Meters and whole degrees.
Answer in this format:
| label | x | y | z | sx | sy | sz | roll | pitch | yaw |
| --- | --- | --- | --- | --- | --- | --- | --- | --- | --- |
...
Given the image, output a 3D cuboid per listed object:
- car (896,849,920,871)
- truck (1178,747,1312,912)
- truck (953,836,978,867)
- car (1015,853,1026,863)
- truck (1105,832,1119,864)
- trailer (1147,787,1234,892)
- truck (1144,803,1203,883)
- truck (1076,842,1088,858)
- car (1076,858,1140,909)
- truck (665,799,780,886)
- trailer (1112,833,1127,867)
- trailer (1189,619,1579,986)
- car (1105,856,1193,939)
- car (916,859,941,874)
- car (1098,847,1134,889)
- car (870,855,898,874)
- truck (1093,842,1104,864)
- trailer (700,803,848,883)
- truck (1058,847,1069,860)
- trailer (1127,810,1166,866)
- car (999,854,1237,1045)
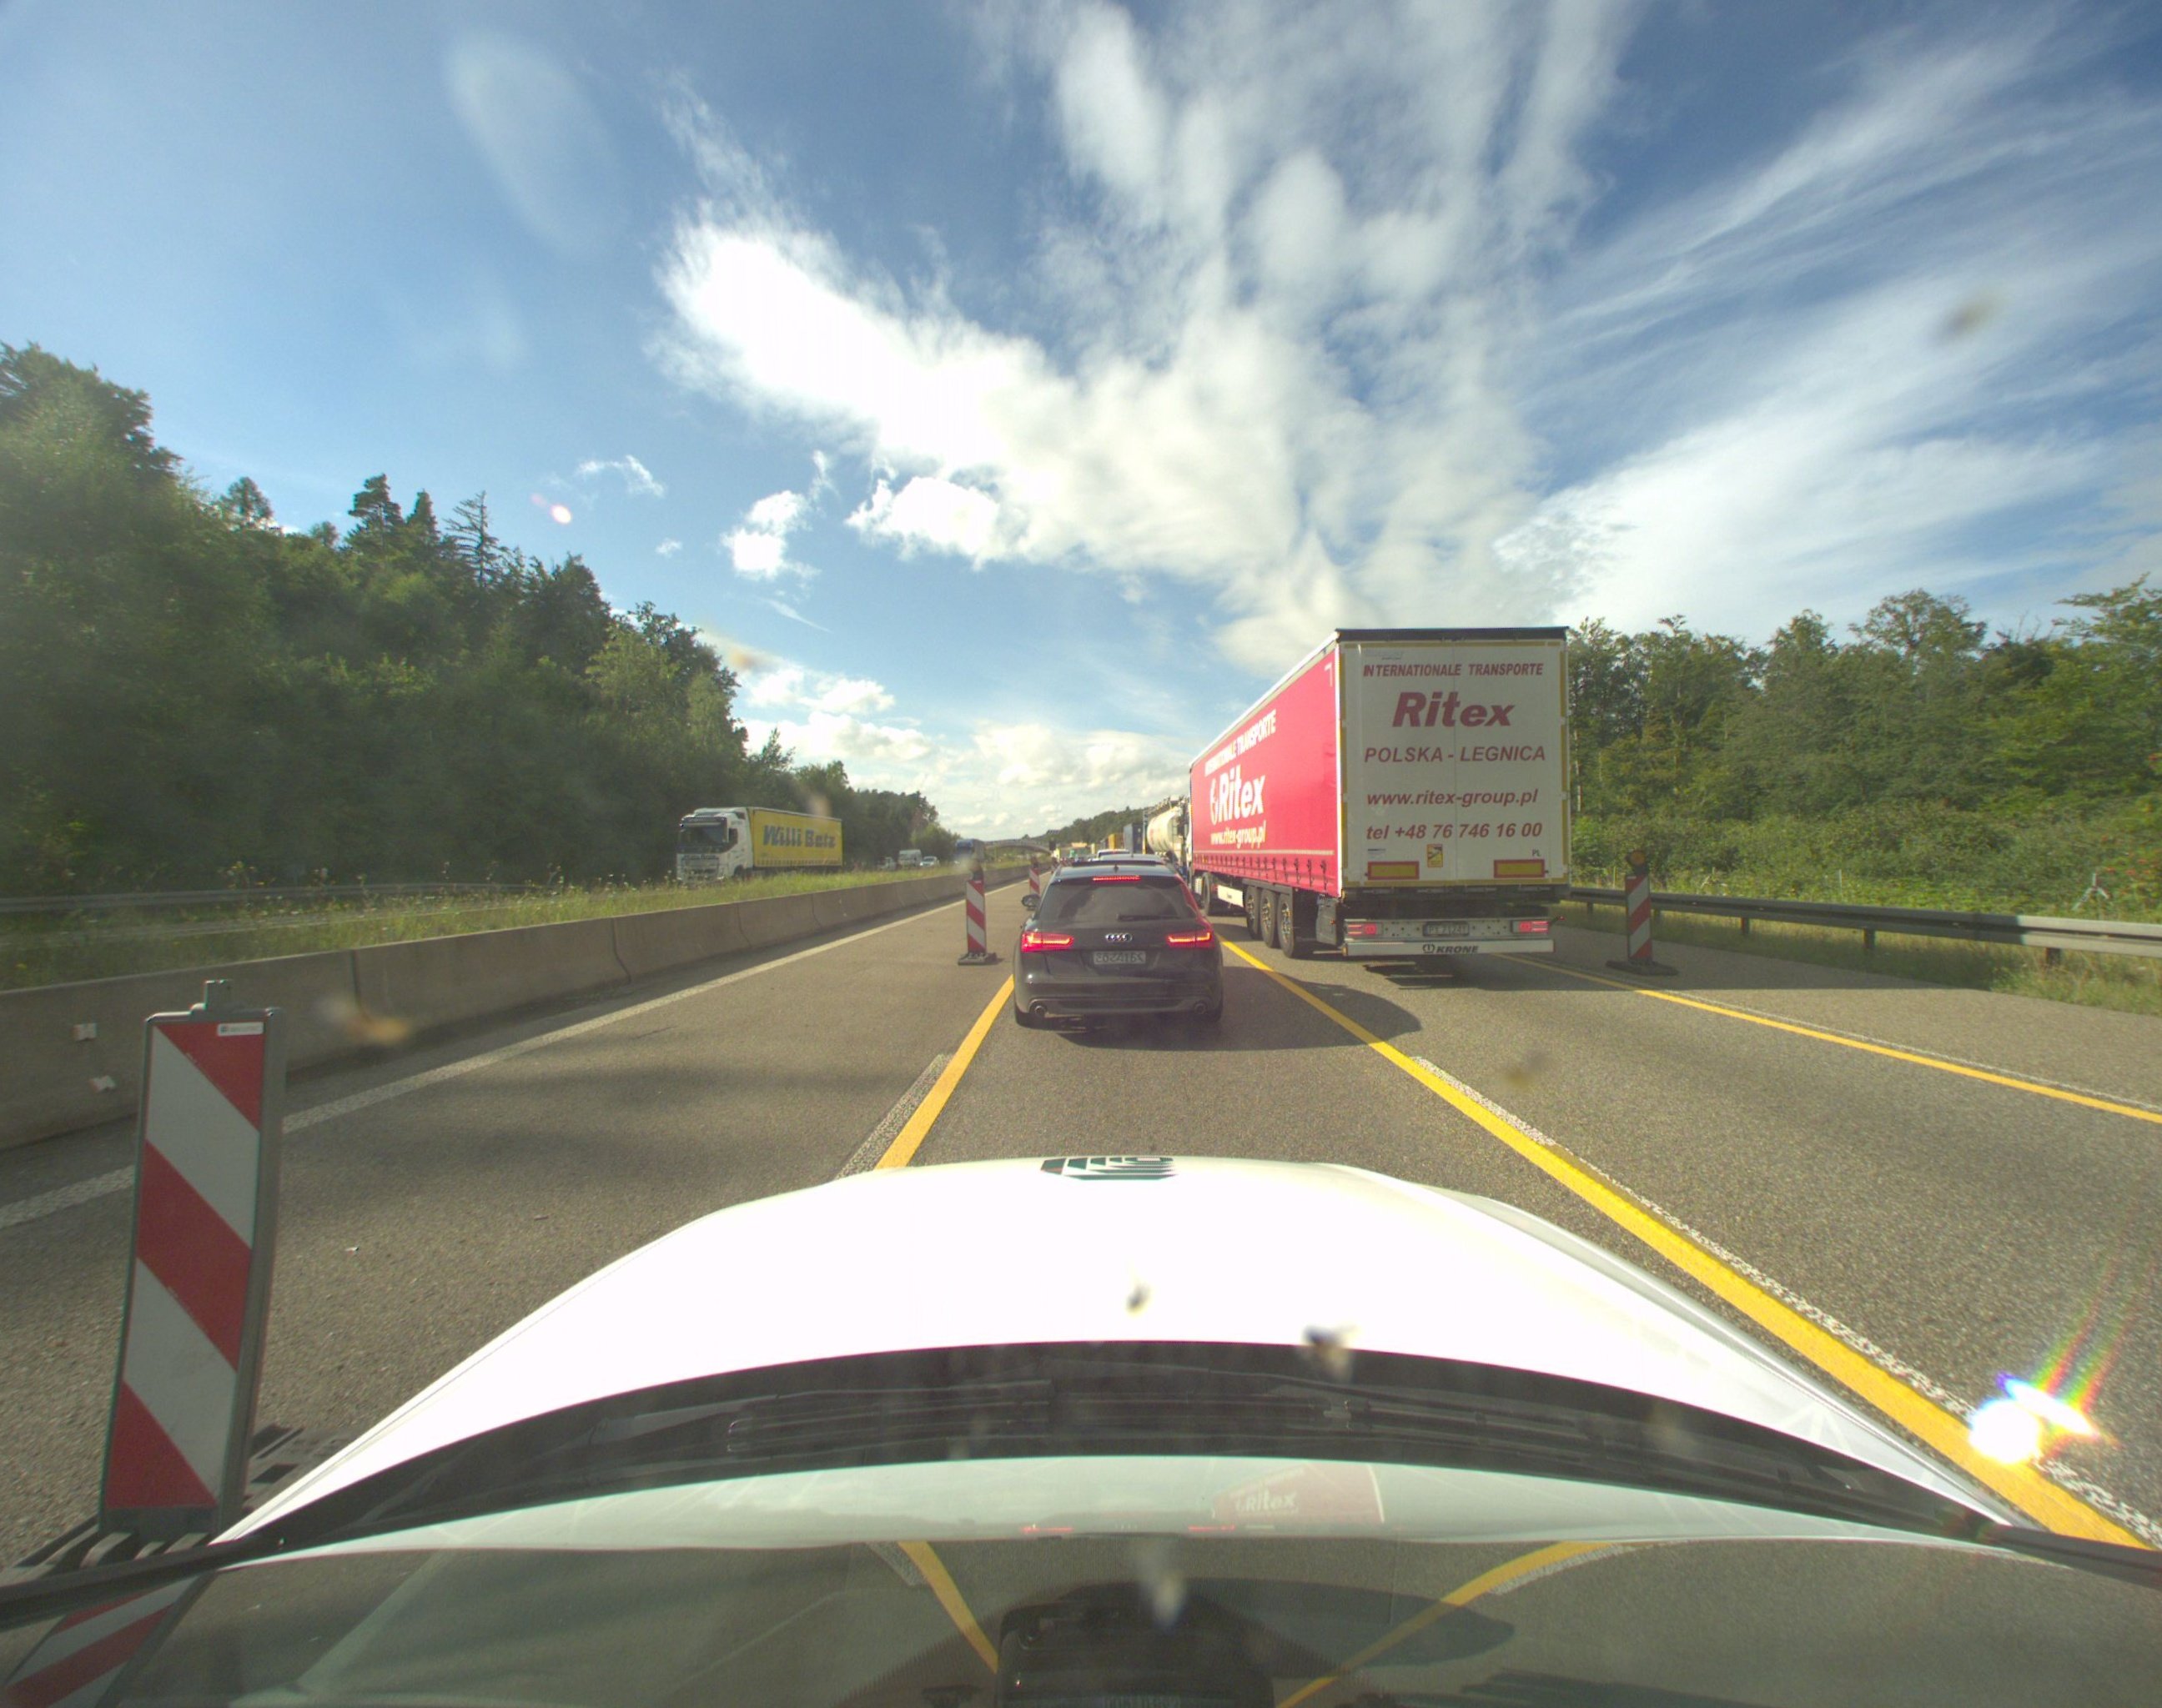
| label | x | y | z | sx | sy | sz | roll | pitch | yaw |
| --- | --- | --- | --- | --- | --- | --- | --- | --- | --- |
| car | -20.828 | 0.750 | 98.144 | 2.247 | 2.643 | 5.009 | 0 | -1 | -6 |
| truck | 4.321 | -0.594 | 22.603 | 2.658 | 3.959 | 5.711 | 0 | 0 | 1 |
| truck | -16.315 | -0.372 | 115.190 | 2.628 | 4.189 | 5.469 | 0 | 0 | 2 |
| car | -12.059 | 0.747 | 162.445 | 1.987 | 1.948 | 3.999 | 0 | -1 | 0 |
| truck | 4.908 | -0.884 | 130.378 | 1.987 | 4.914 | 9.562 | 0 | 0 | 1 |
| trailer | 4.650 | -0.522 | 37.032 | 2.634 | 3.943 | 12.602 | 0 | 0 | 2 |
| truck | 4.833 | -0.522 | 43.519 | 2.649 | 3.972 | 5.780 | 0 | -1 | 2 |
| truck | 0.332 | -1.016 | 226.456 | 3.293 | 4.175 | 9.700 | -1 | 0 | 0 |
| car | 0.792 | 0.818 | 24.166 | 1.745 | 1.397 | 3.609 | 0 | -1 | 2 |
| truck | -17.273 | -0.511 | 39.685 | 2.816 | 3.909 | 5.951 | 0 | -1 | 2 |
| trailer | 4.516 | -0.470 | 96.908 | 1.611 | 3.918 | 6.490 | 0 | -1 | 1 |
| trailer | 4.181 | -0.557 | 15.558 | 2.690 | 3.969 | 13.420 | 0 | 0 | 1 |
| car | 1.242 | 0.780 | 15.875 | 1.518 | 1.439 | 3.286 | 0 | -1 | 2 |
| car | -16.603 | 1.347 | 88.707 | 1.780 | 1.560 | 4.001 | 0 | -1 | 2 |
| car | 1.612 | 0.631 | 37.516 | 1.575 | 1.837 | 3.113 | 0 | -1 | 2 |
| car | -21.338 | 1.177 | 88.283 | 1.986 | 2.014 | 4.001 | 0 | -1 | 2 |
| truck | 3.439 | -0.100 | 162.430 | 2.130 | 4.257 | 7.073 | 0 | -1 | 1 |
| trailer | -17.067 | -0.478 | 46.973 | 2.817 | 3.922 | 13.945 | 0 | -1 | 2 |
| truck | -5.538 | -0.087 | 260.001 | 3.296 | 4.175 | 9.693 | 0 | 0 | -2 |
| trailer | 5.399 | -1.219 | 69.049 | 2.795 | 4.413 | 10.436 | 0 | -1 | 2 |
| car | 0.356 | 0.767 | 8.377 | 1.842 | 1.463 | 4.001 | -1 | -1 | 2 |
